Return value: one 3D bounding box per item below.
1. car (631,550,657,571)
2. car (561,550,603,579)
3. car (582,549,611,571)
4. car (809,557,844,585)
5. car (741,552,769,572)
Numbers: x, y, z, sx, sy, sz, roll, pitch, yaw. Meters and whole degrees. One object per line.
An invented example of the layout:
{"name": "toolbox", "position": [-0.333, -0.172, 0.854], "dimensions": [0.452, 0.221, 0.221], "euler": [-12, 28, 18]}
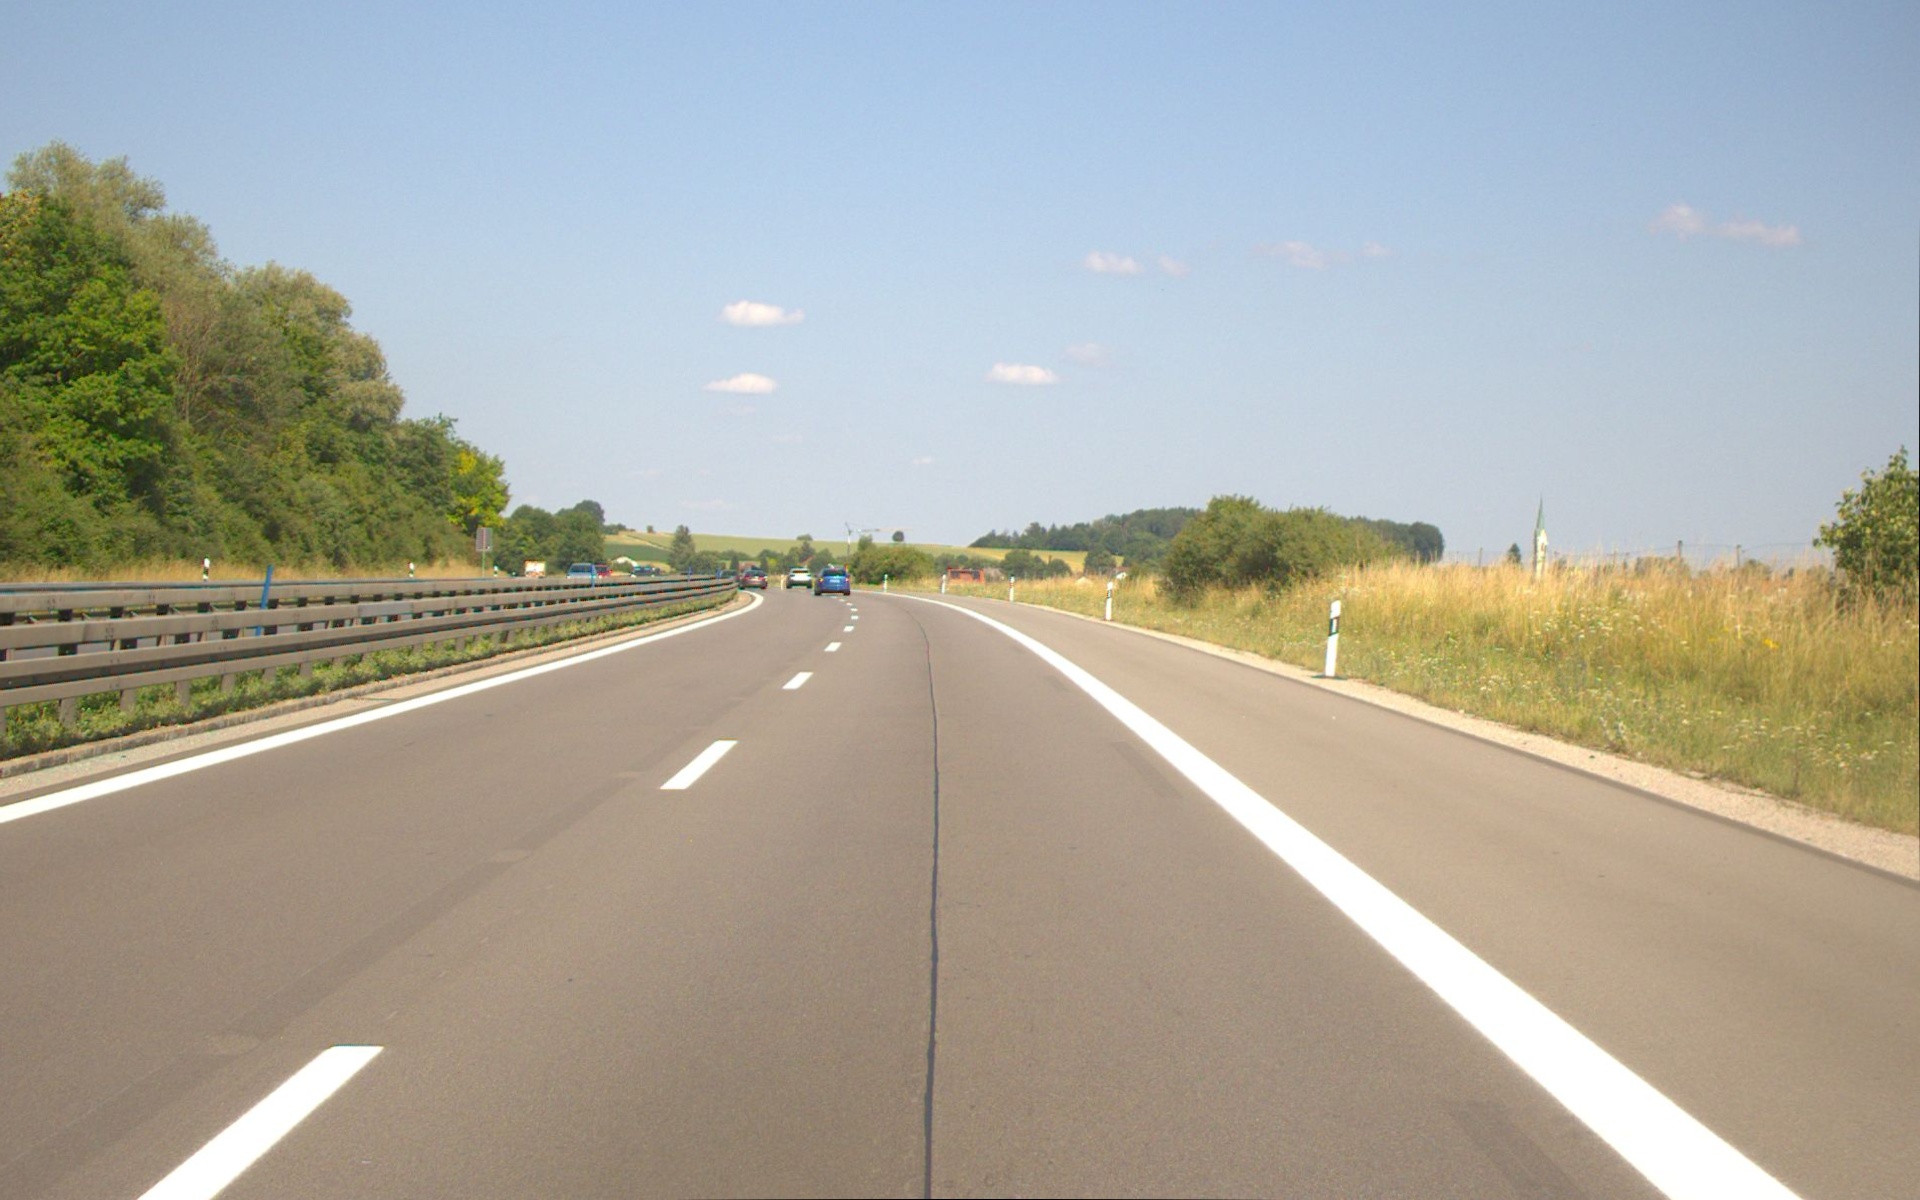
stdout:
{"name": "car", "position": [-22.745, -2.853, 247.795], "dimensions": [1.649, 1.488, 4.540], "euler": [1, 1, -2]}
{"name": "car", "position": [-21.613, -2.048, 196.743], "dimensions": [1.993, 1.607, 4.637], "euler": [1, 1, -1]}
{"name": "car", "position": [-24.391, -2.687, 230.574], "dimensions": [1.649, 1.488, 4.540], "euler": [1, 1, -2]}
{"name": "car", "position": [-7.038, -1.540, 181.495], "dimensions": [1.676, 1.448, 3.592], "euler": [1, 0, 0]}
{"name": "car", "position": [-15.089, -2.782, 253.264], "dimensions": [1.829, 1.448, 3.592], "euler": [1, 0, 1]}
